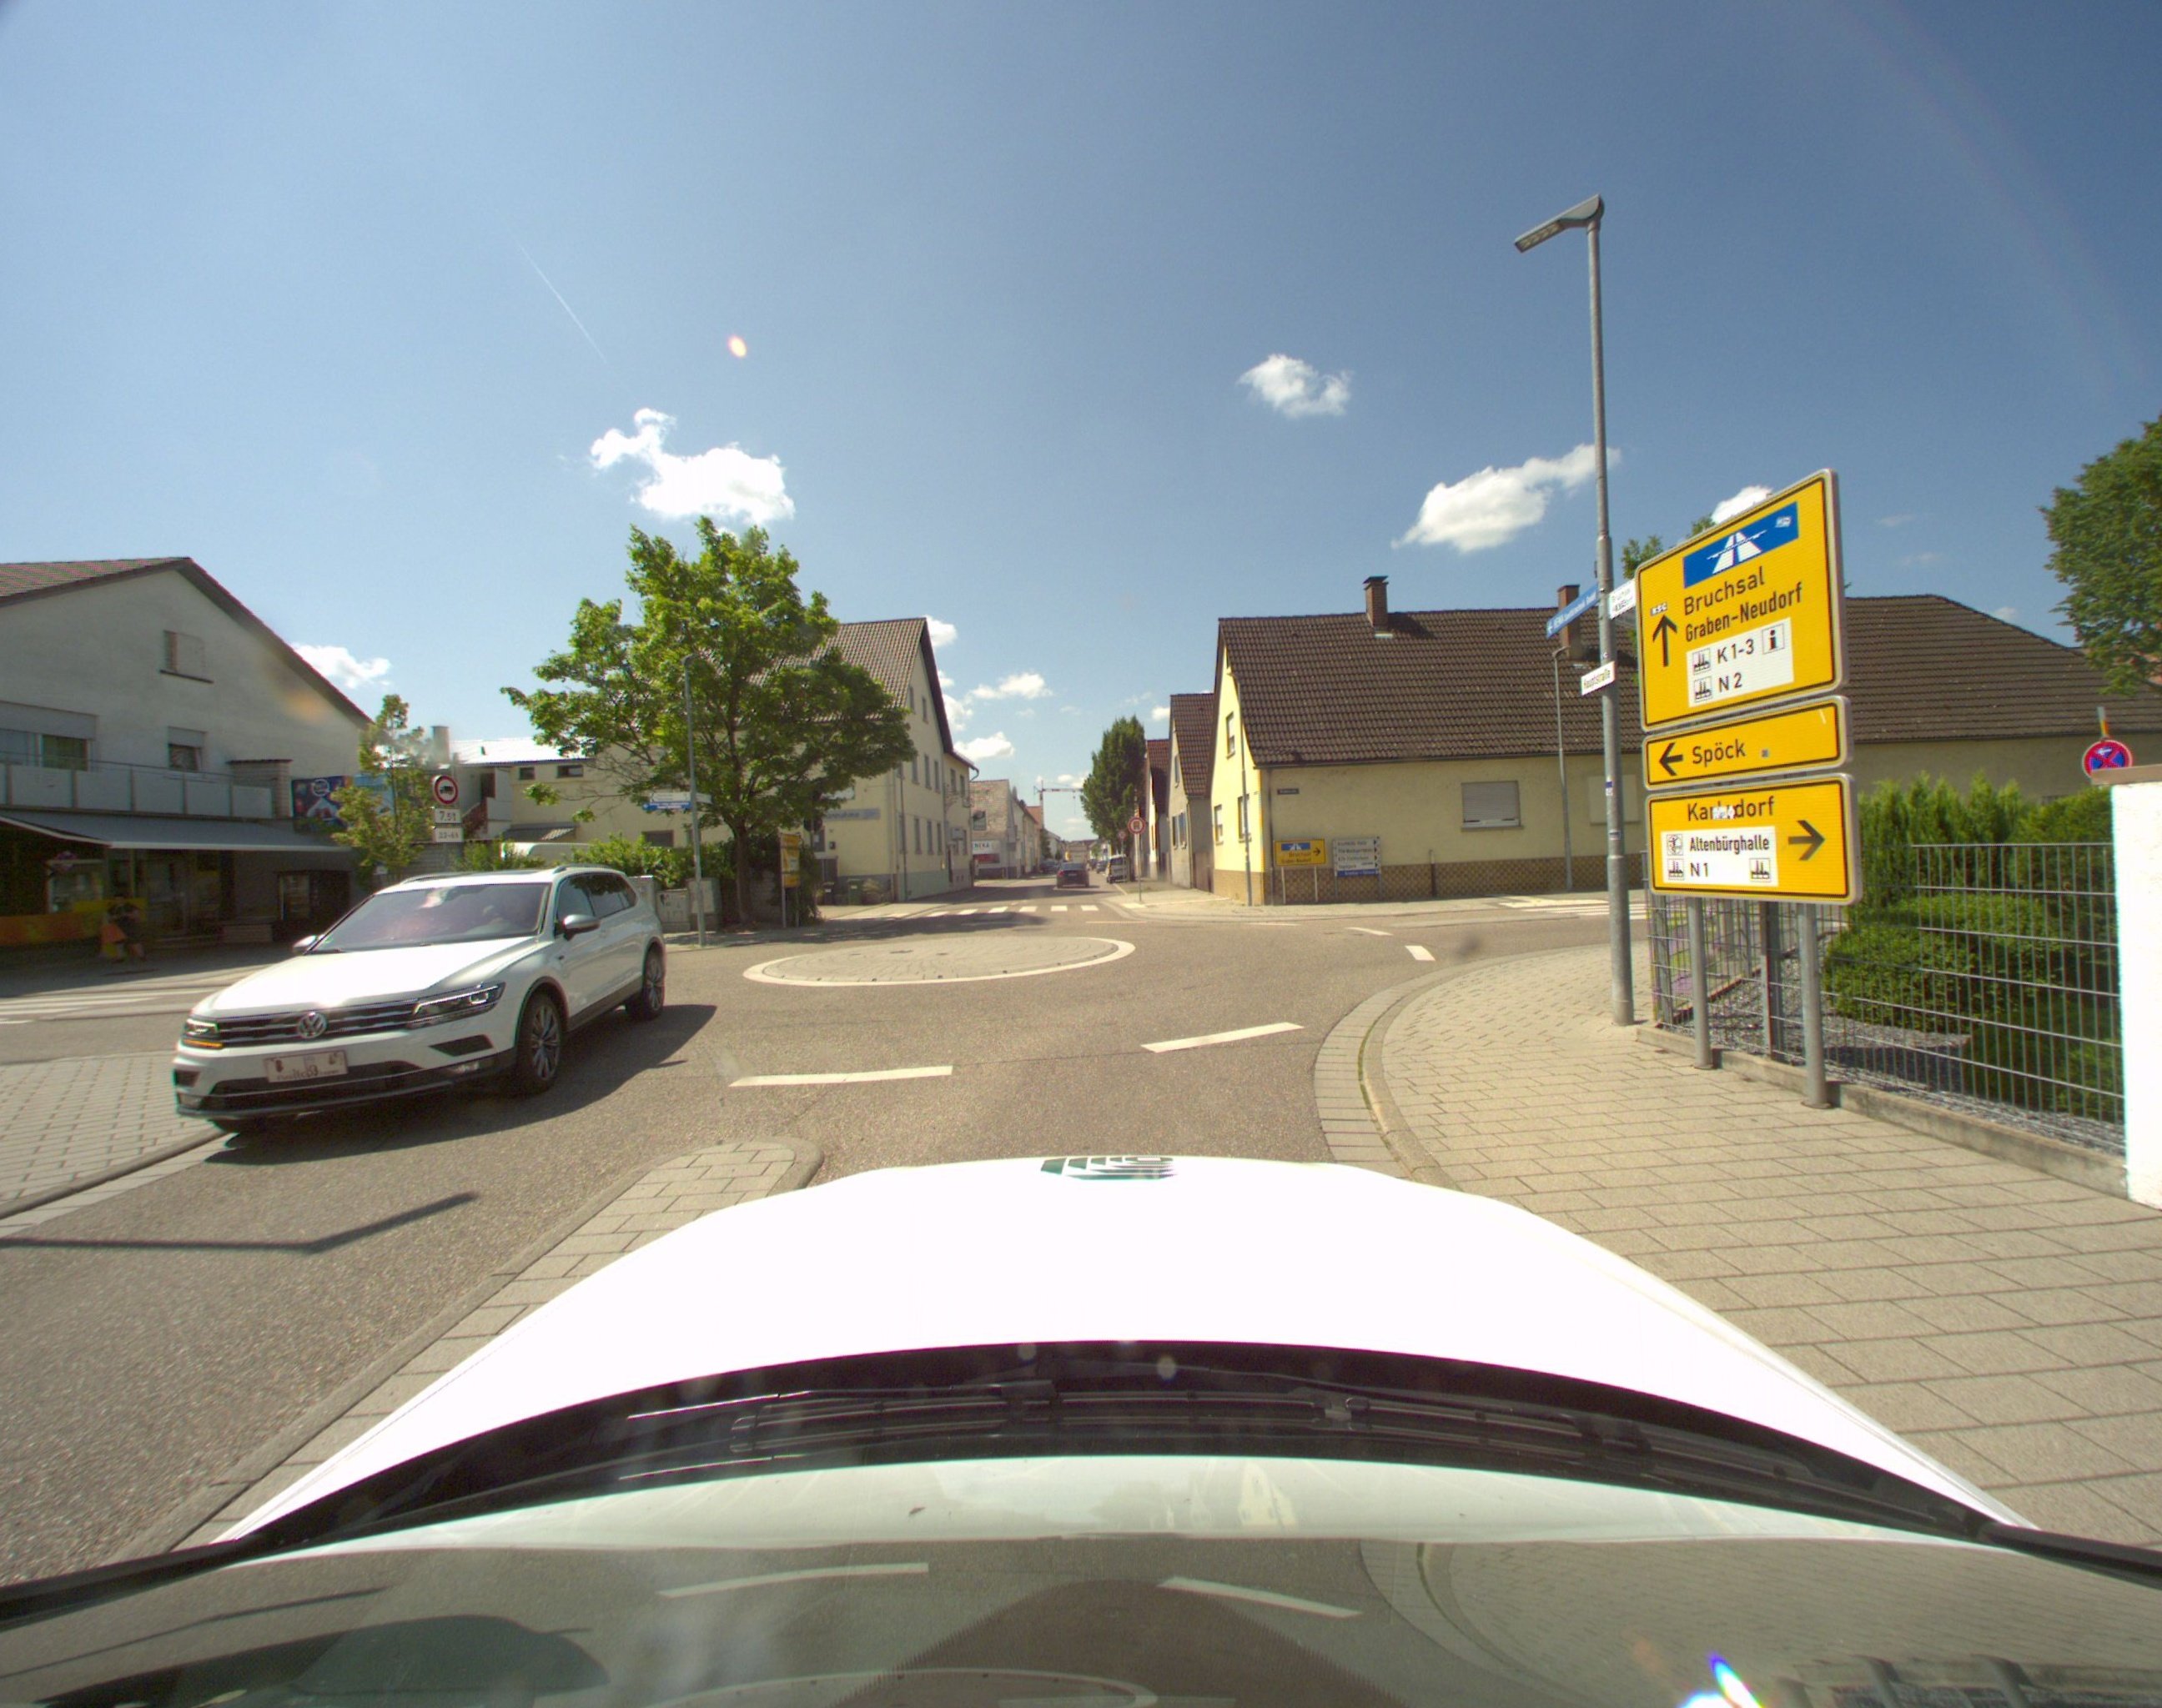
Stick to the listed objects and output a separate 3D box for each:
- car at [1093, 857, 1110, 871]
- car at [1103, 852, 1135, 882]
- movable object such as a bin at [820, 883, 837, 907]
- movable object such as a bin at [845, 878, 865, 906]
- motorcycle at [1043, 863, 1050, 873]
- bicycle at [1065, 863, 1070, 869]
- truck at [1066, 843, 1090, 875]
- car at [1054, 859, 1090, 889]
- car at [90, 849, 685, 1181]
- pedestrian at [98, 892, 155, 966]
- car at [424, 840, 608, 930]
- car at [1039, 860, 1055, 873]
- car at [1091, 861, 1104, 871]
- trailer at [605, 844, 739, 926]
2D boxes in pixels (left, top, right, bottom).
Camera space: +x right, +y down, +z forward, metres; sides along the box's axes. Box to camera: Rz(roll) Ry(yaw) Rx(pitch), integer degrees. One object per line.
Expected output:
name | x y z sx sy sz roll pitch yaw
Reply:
car | 2.300 1.091 90.400 1.713 1.461 4.158 -2 0 2
car | 2.452 0.865 53.695 1.715 1.790 4.141 -4 0 -2
movable object such as a bin | -10.295 1.677 33.259 0.477 0.928 0.547 -3 -1 2
movable object such as a bin | -9.256 1.556 33.373 0.597 1.079 0.659 -3 -1 2
motorcycle | -4.281 1.719 100.786 0.844 1.170 2.467 -1 -1 -1
bicycle | -2.743 2.409 164.008 0.748 1.308 2.686 -1 -1 1
truck | -0.333 0.760 115.099 3.133 4.251 9.303 -1 -1 1
car | -0.495 1.116 47.503 1.895 1.564 4.477 -2 0 1
car | -5.039 0.927 6.959 1.868 1.710 4.522 -4 0 -13
pedestrian | -21.714 1.681 18.540 0.869 1.589 0.755 -2 1 43
car | -17.951 0.898 26.330 1.930 2.567 5.647 -1 0 1
car | -4.360 1.568 104.653 1.804 1.589 3.998 -2 0 -1
car | 2.403 1.699 118.803 1.714 1.355 4.156 -2 0 0
trailer | -12.755 0.918 25.772 1.872 2.335 4.523 -1 0 1
